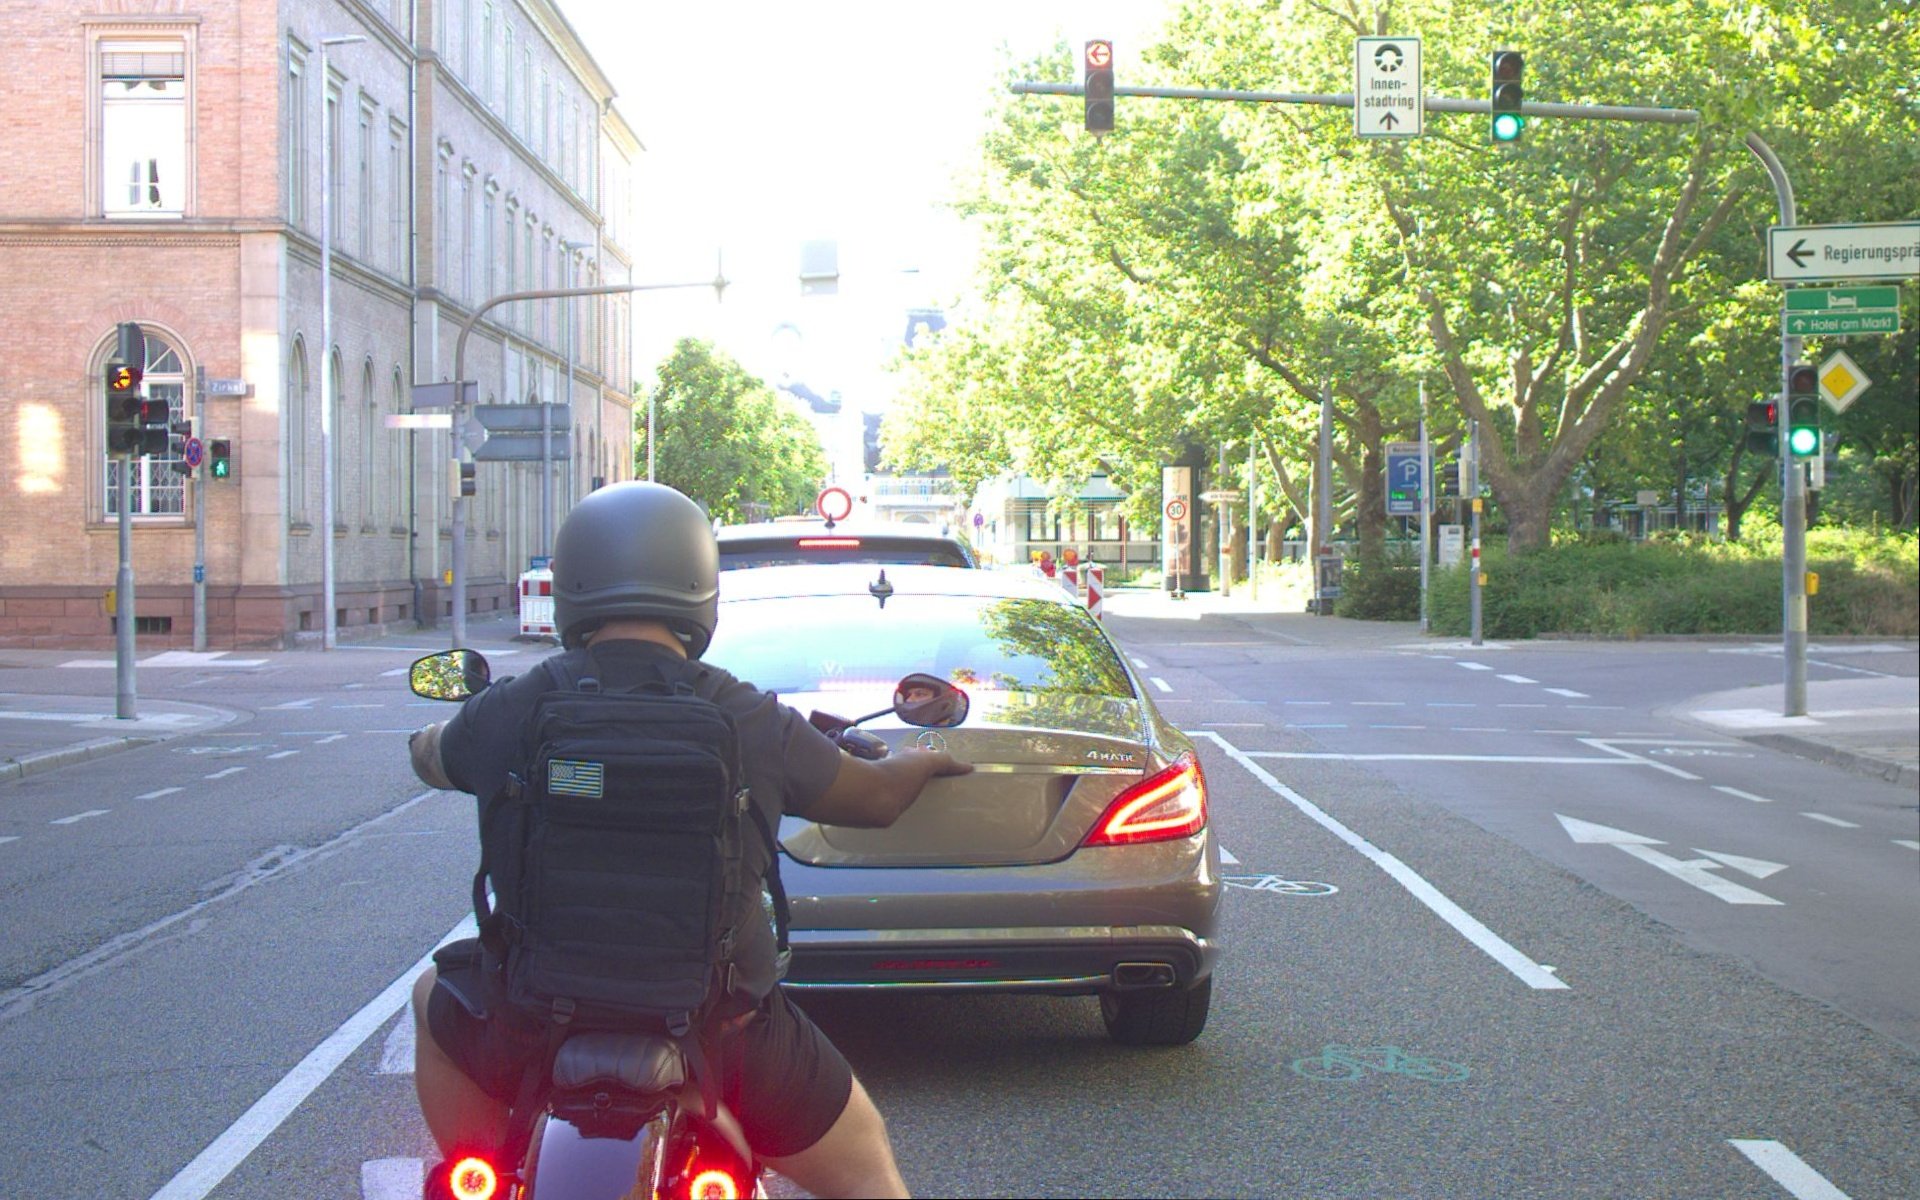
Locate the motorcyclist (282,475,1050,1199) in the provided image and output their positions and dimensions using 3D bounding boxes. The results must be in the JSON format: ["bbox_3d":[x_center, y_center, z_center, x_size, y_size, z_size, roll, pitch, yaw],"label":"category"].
[{"bbox_3d":[-0.420,0.617,5.263,1.061,1.577,0.908,1,0,-1],"label":"motorcyclist"}]

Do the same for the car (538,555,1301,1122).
[{"bbox_3d":[-0.351,0.584,11.108,1.901,1.436,4.290,0,1,-8],"label":"car"}]

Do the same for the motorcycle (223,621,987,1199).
[{"bbox_3d":[-0.470,0.736,5.535,0.962,1.352,2.320,1,1,-1],"label":"motorcycle"}]

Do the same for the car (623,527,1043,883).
[{"bbox_3d":[-0.651,0.416,16.766,1.813,1.530,3.849,0,1,-3],"label":"car"}]
